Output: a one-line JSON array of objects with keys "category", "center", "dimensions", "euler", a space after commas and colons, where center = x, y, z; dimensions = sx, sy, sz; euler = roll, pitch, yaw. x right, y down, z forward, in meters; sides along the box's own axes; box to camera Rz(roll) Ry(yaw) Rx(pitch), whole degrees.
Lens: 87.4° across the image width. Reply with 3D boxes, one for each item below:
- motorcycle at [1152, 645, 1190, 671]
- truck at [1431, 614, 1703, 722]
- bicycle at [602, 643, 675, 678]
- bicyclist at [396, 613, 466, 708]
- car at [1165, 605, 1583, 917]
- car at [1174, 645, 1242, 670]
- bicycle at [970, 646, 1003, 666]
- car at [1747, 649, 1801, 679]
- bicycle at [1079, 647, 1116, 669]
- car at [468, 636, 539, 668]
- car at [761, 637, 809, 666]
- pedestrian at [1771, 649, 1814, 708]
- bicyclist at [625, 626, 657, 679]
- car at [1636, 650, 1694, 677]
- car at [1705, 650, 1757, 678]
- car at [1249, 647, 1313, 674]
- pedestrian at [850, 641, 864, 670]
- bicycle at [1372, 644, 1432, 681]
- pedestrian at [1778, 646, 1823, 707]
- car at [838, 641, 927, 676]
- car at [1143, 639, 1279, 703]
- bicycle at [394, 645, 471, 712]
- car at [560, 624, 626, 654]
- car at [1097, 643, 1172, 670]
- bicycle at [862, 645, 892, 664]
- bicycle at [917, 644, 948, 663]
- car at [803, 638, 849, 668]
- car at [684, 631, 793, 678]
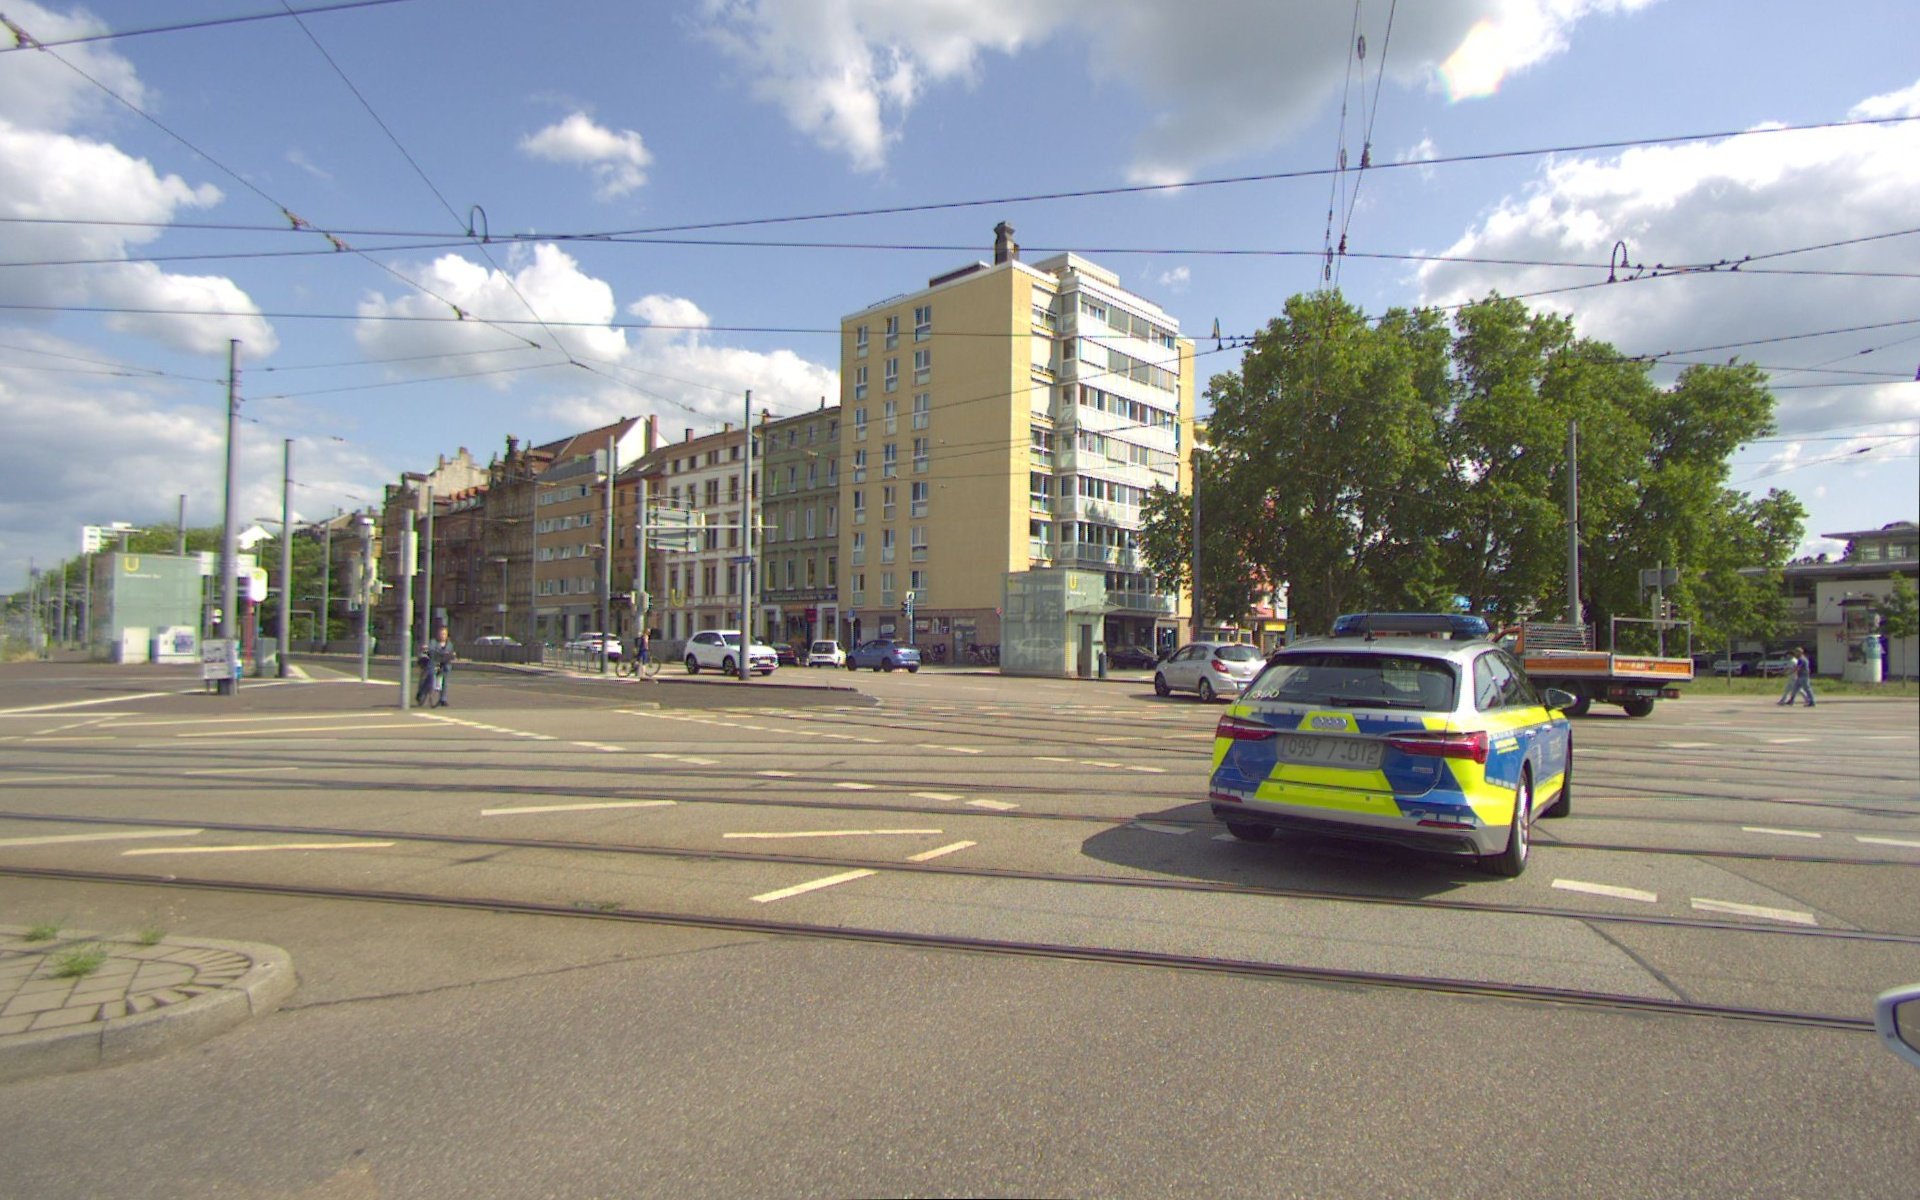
[{"category": "motorcycle", "center": [10.263, 2.818, 48.966], "dimensions": [0.891, 1.254, 2.212], "euler": [0, -2, -15]}, {"category": "truck", "center": [13.875, 1.530, 23.567], "dimensions": [2.303, 2.183, 5.845], "euler": [1, -3, -8]}, {"category": "bicycle", "center": [-11.387, 2.134, 35.657], "dimensions": [0.876, 1.153, 2.348], "euler": [1, -1, 38]}, {"category": "bicyclist", "center": [-10.226, 1.158, 19.412], "dimensions": [0.985, 1.753, 1.288], "euler": [3, -4, -35]}, {"category": "car", "center": [3.375, 0.928, 7.541], "dimensions": [1.856, 1.588, 4.599], "euler": [-1, -3, 36]}, {"category": "car", "center": [16.089, 3.740, 65.183], "dimensions": [3.943, 1.514, 1.793], "euler": [-1, -3, 42]}, {"category": "bicycle", "center": [1.499, 3.193, 57.313], "dimensions": [1.781, 1.118, 0.793], "euler": [0, -2, 38]}, {"category": "car", "center": [57.095, 4.492, 70.446], "dimensions": [4.194, 2.039, 1.979], "euler": [4, -5, -38]}, {"category": "bicycle", "center": [7.743, 3.264, 56.485], "dimensions": [1.920, 1.162, 0.793], "euler": [-1, -2, 39]}, {"category": "car", "center": [-23.263, 2.610, 51.165], "dimensions": [1.988, 1.548, 4.039], "euler": [3, -3, -45]}, {"category": "car", "center": [-9.734, 2.891, 56.125], "dimensions": [1.862, 1.516, 3.902], "euler": [2, -3, 1]}, {"category": "pedestrian", "center": [26.001, 2.424, 31.377], "dimensions": [0.910, 1.767, 0.588], "euler": [2, -1, 29]}, {"category": "bicyclist", "center": [-11.332, 1.846, 35.684], "dimensions": [0.767, 1.821, 0.707], "euler": [2, -1, 38]}, {"category": "car", "center": [54.255, 4.913, 77.308], "dimensions": [5.017, 1.962, 1.956], "euler": [4, -5, -34]}, {"category": "car", "center": [55.886, 4.664, 72.816], "dimensions": [4.194, 1.962, 1.953], "euler": [4, -5, -38]}, {"category": "car", "center": [18.347, 3.474, 57.335], "dimensions": [1.886, 1.431, 3.976], "euler": [-2, -5, 45]}, {"category": "pedestrian", "center": [-5.683, 3.057, 55.435], "dimensions": [0.548, 1.554, 0.695], "euler": [2, -3, -25]}, {"category": "bicycle", "center": [18.320, 2.582, 41.678], "dimensions": [2.144, 1.433, 0.808], "euler": [0, -1, 42]}, {"category": "pedestrian", "center": [25.489, 2.298, 30.459], "dimensions": [0.910, 1.767, 0.588], "euler": [2, -1, 29]}, {"category": "car", "center": [-3.437, 2.534, 44.068], "dimensions": [3.946, 1.394, 1.732], "euler": [-1, -3, 44]}, {"category": "car", "center": [6.336, 1.761, 25.807], "dimensions": [1.821, 1.494, 3.992], "euler": [1, -2, -12]}, {"category": "bicycle", "center": [-10.171, 1.468, 19.310], "dimensions": [0.985, 1.204, 2.278], "euler": [3, -4, -35]}, {"category": "car", "center": [-20.928, 2.200, 57.167], "dimensions": [2.031, 1.599, 4.484], "euler": [3, -2, -41]}, {"category": "car", "center": [9.922, 3.216, 57.301], "dimensions": [3.942, 1.416, 1.664], "euler": [-1, -4, 42]}, {"category": "bicycle", "center": [-5.256, 3.427, 63.420], "dimensions": [1.781, 1.118, 0.793], "euler": [0, -2, 38]}, {"category": "bicycle", "center": [-1.668, 3.220, 60.447], "dimensions": [1.781, 1.118, 0.793], "euler": [0, -2, 38]}, {"category": "car", "center": [-7.325, 2.920, 55.303], "dimensions": [1.862, 1.516, 3.902], "euler": [2, -3, 2]}, {"category": "car", "center": [-8.286, 1.999, 37.352], "dimensions": [2.030, 1.660, 4.231], "euler": [3, -3, -45]}]
